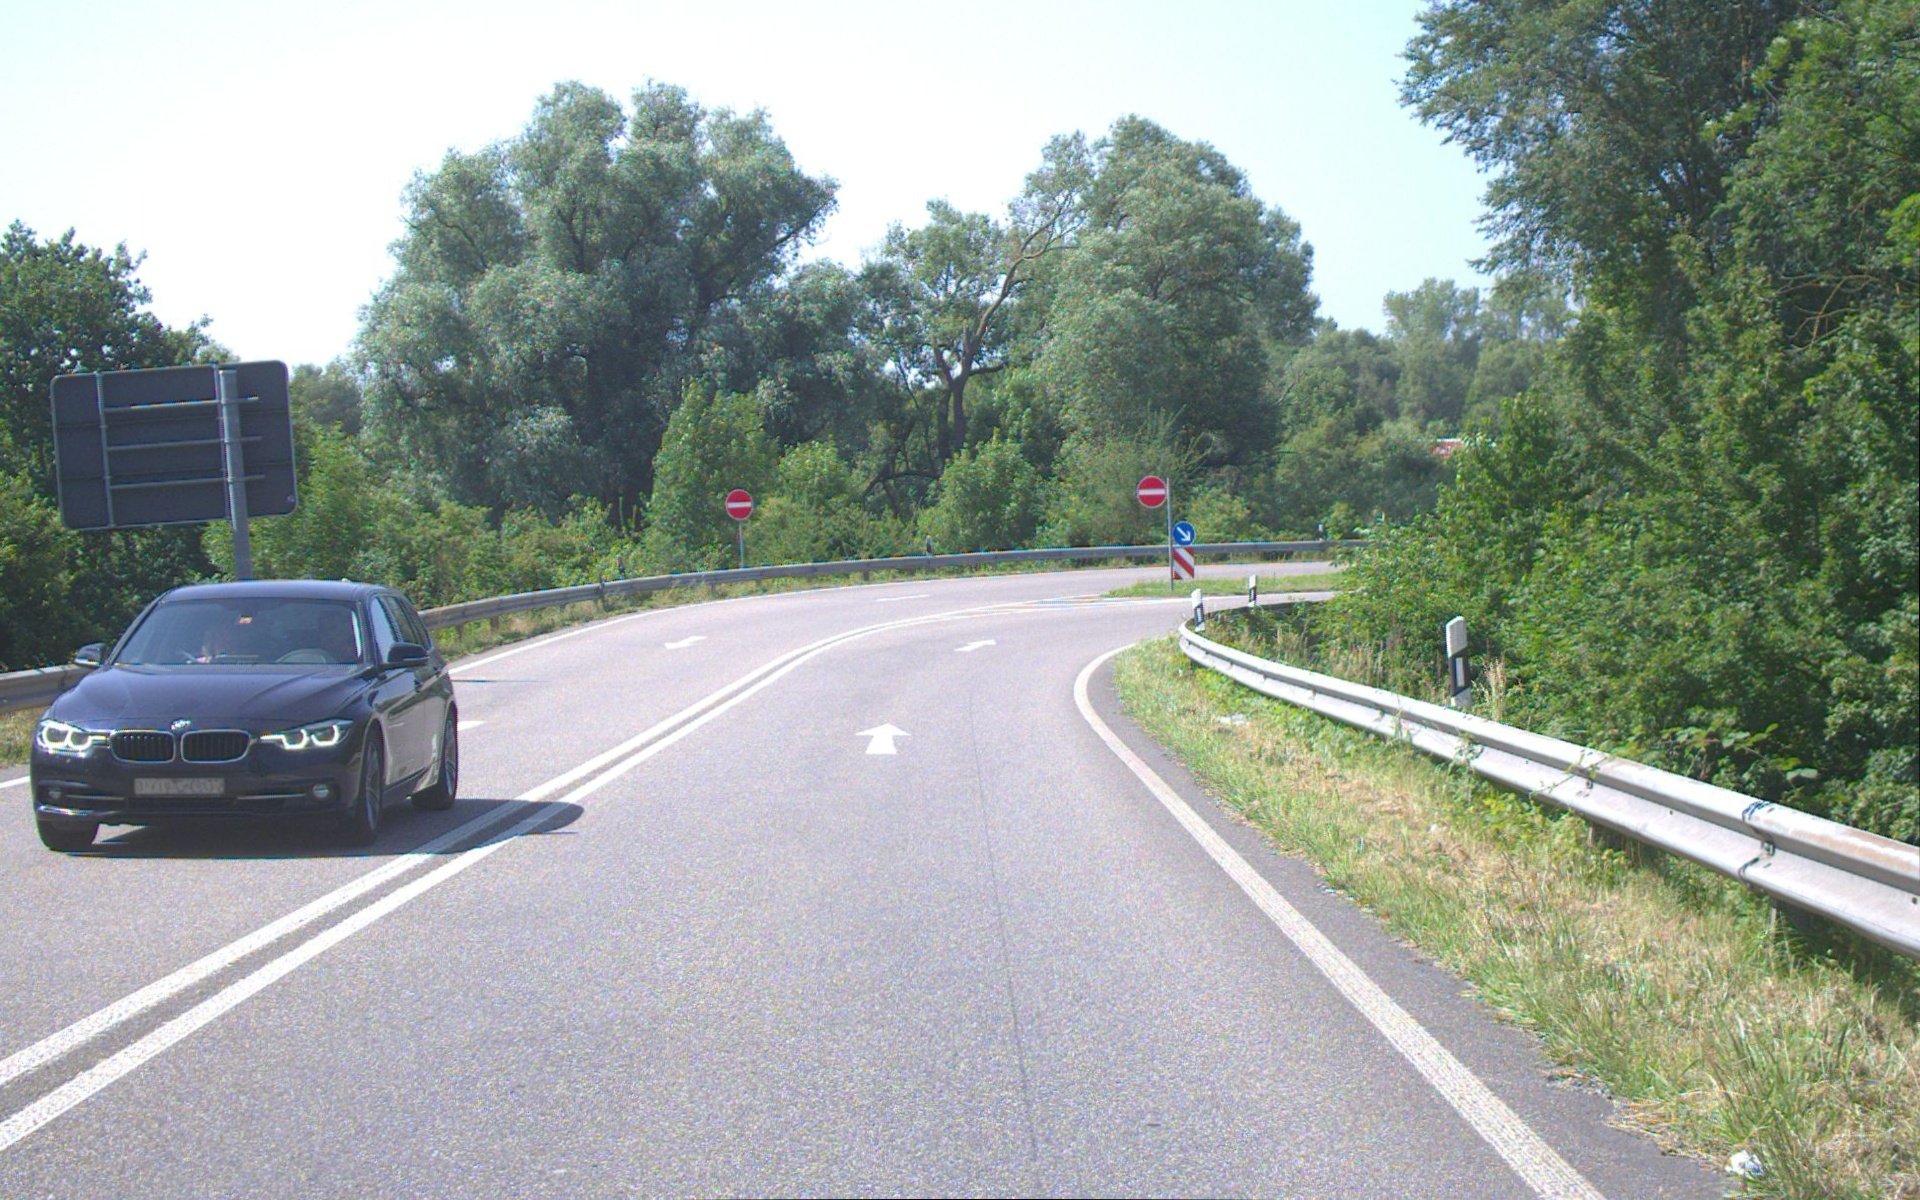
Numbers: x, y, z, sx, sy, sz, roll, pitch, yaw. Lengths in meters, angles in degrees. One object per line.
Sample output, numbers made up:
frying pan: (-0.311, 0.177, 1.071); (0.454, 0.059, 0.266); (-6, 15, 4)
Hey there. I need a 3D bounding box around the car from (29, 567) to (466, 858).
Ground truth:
car: (-3.973, 0.559, 19.814); (1.607, 1.468, 4.220); (-1, 1, 0)
